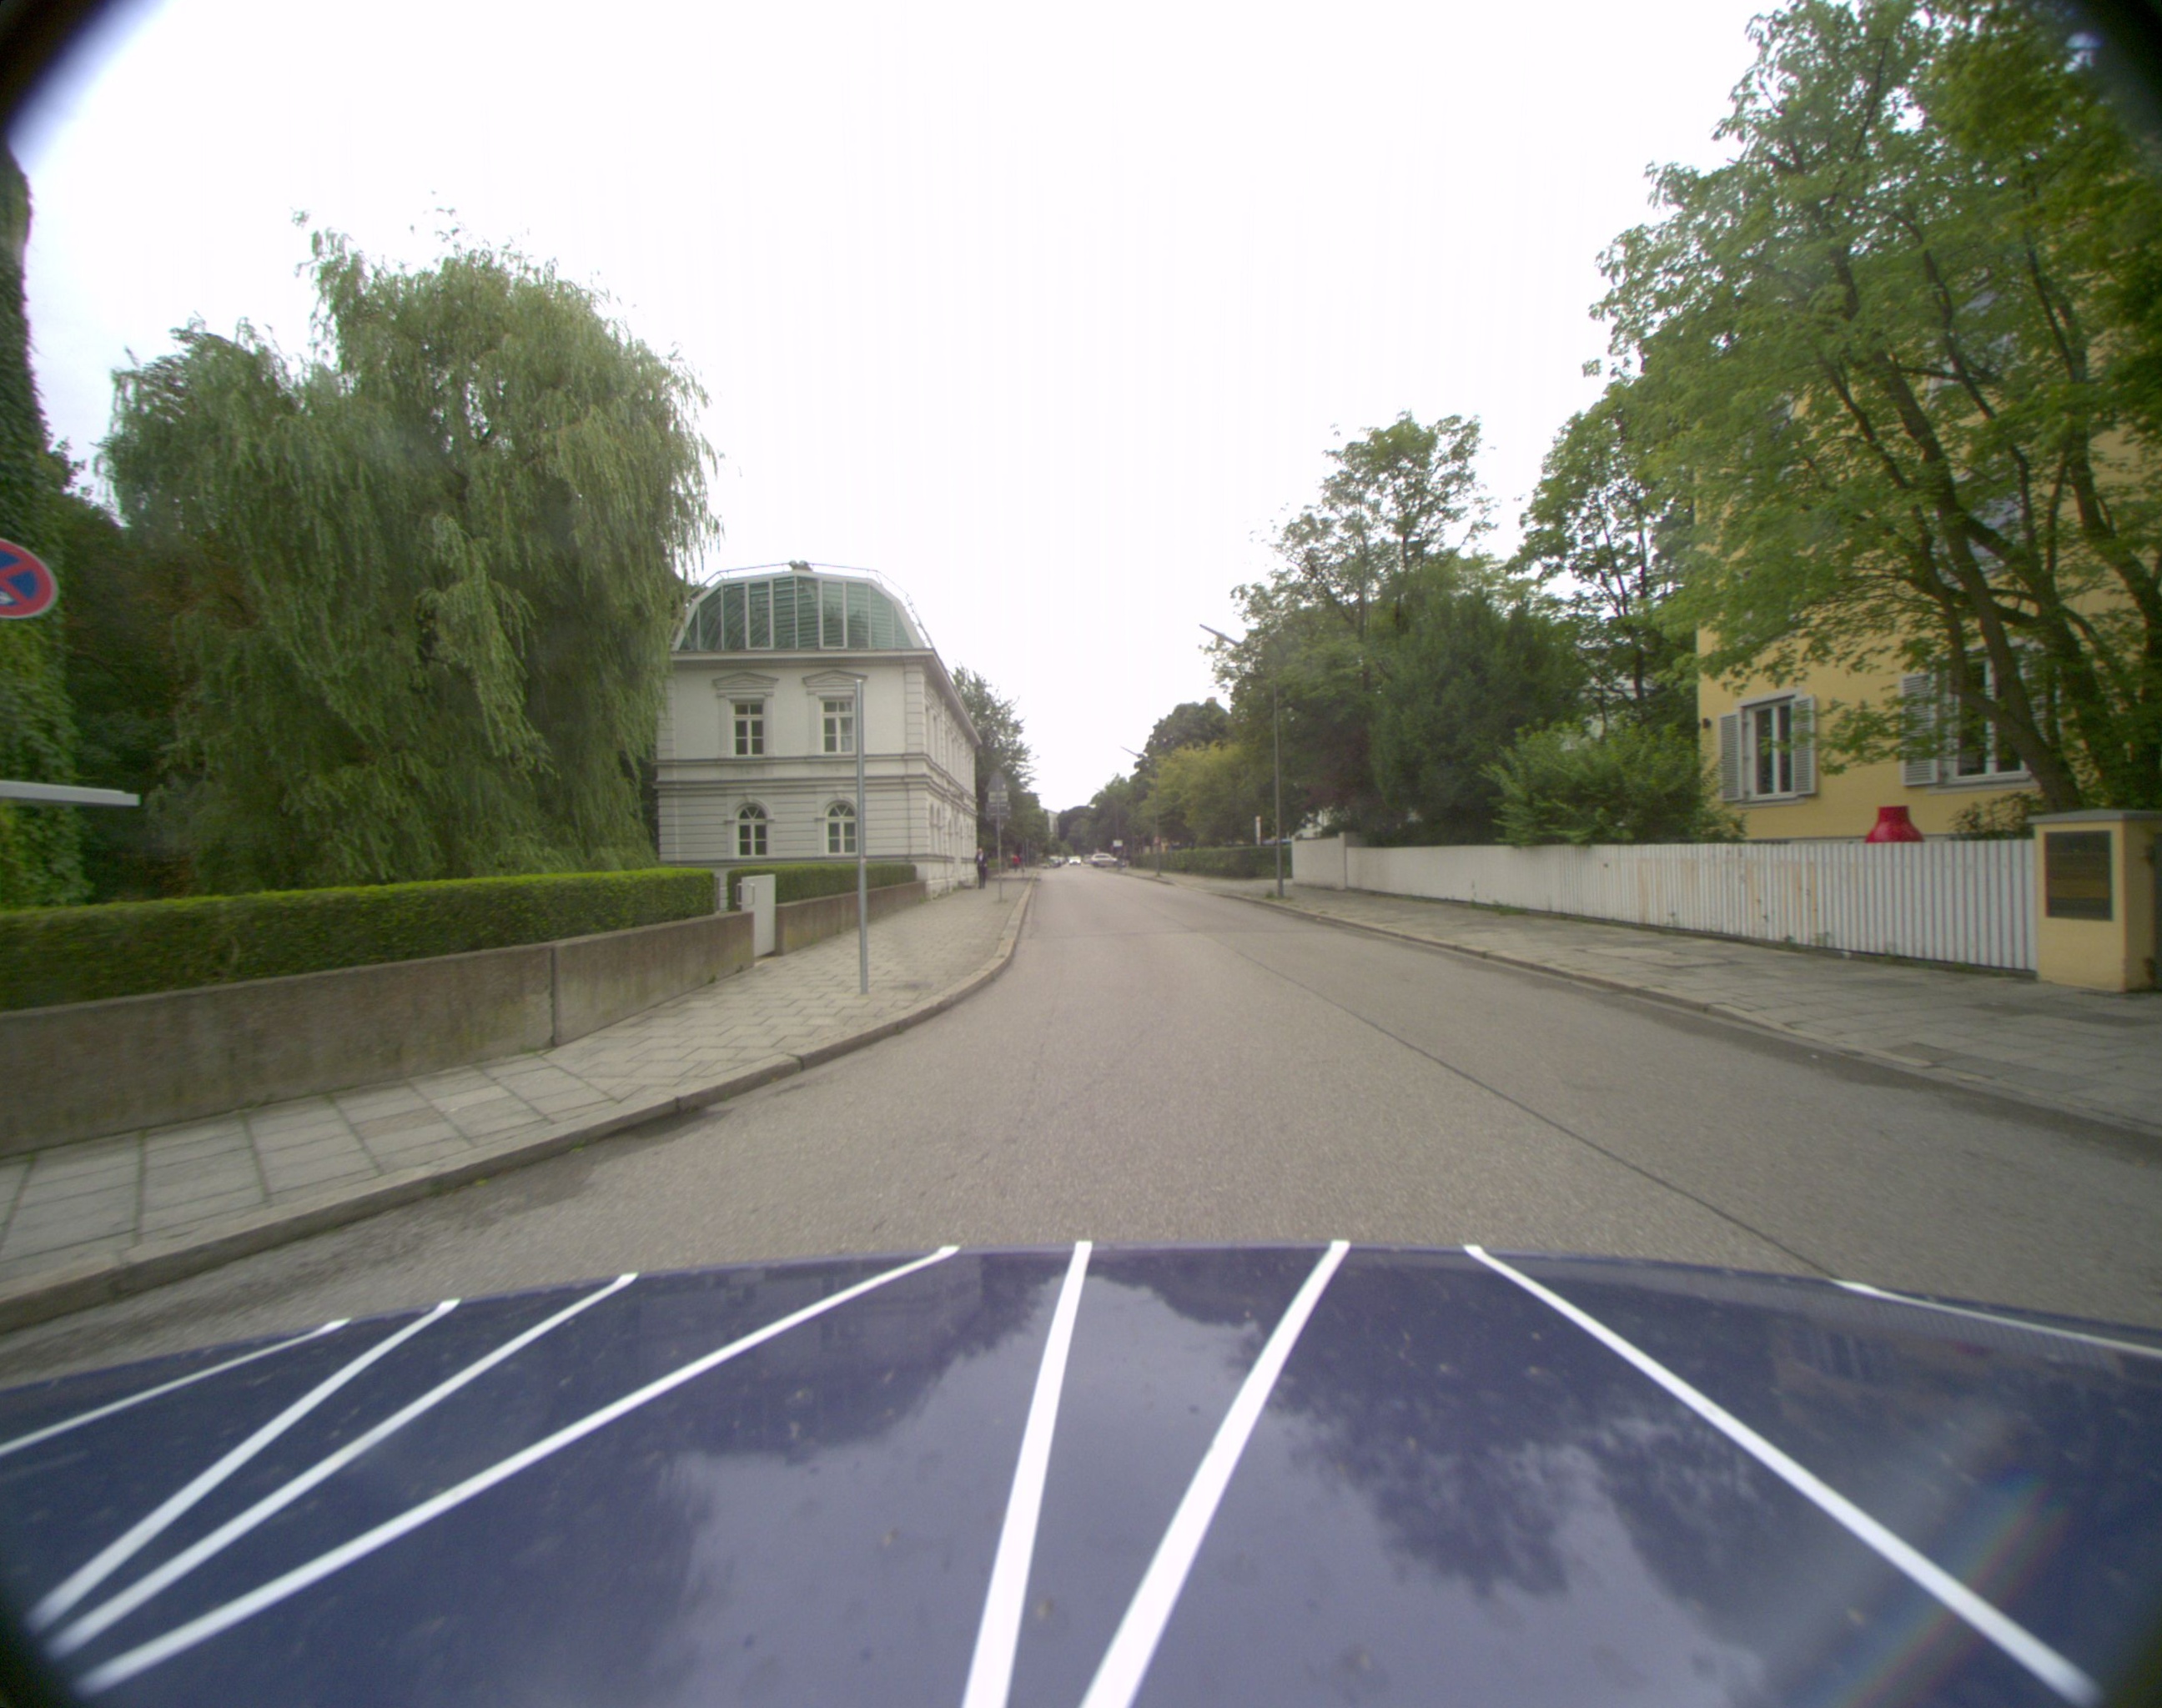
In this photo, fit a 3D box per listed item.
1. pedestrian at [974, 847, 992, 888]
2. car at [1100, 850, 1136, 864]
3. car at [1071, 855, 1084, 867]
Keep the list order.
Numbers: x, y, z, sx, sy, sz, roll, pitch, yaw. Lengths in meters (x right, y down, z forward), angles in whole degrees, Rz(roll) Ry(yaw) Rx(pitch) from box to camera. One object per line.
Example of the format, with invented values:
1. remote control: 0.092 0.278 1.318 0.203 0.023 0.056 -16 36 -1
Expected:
1. pedestrian: -4.194 0.569 32.490 0.680 1.696 0.768 0 1 -2
2. car: 4.705 0.344 96.030 4.123 1.604 1.865 -2 1 36
3. car: -0.644 1.202 130.137 1.999 2.002 3.998 -1 1 -3
